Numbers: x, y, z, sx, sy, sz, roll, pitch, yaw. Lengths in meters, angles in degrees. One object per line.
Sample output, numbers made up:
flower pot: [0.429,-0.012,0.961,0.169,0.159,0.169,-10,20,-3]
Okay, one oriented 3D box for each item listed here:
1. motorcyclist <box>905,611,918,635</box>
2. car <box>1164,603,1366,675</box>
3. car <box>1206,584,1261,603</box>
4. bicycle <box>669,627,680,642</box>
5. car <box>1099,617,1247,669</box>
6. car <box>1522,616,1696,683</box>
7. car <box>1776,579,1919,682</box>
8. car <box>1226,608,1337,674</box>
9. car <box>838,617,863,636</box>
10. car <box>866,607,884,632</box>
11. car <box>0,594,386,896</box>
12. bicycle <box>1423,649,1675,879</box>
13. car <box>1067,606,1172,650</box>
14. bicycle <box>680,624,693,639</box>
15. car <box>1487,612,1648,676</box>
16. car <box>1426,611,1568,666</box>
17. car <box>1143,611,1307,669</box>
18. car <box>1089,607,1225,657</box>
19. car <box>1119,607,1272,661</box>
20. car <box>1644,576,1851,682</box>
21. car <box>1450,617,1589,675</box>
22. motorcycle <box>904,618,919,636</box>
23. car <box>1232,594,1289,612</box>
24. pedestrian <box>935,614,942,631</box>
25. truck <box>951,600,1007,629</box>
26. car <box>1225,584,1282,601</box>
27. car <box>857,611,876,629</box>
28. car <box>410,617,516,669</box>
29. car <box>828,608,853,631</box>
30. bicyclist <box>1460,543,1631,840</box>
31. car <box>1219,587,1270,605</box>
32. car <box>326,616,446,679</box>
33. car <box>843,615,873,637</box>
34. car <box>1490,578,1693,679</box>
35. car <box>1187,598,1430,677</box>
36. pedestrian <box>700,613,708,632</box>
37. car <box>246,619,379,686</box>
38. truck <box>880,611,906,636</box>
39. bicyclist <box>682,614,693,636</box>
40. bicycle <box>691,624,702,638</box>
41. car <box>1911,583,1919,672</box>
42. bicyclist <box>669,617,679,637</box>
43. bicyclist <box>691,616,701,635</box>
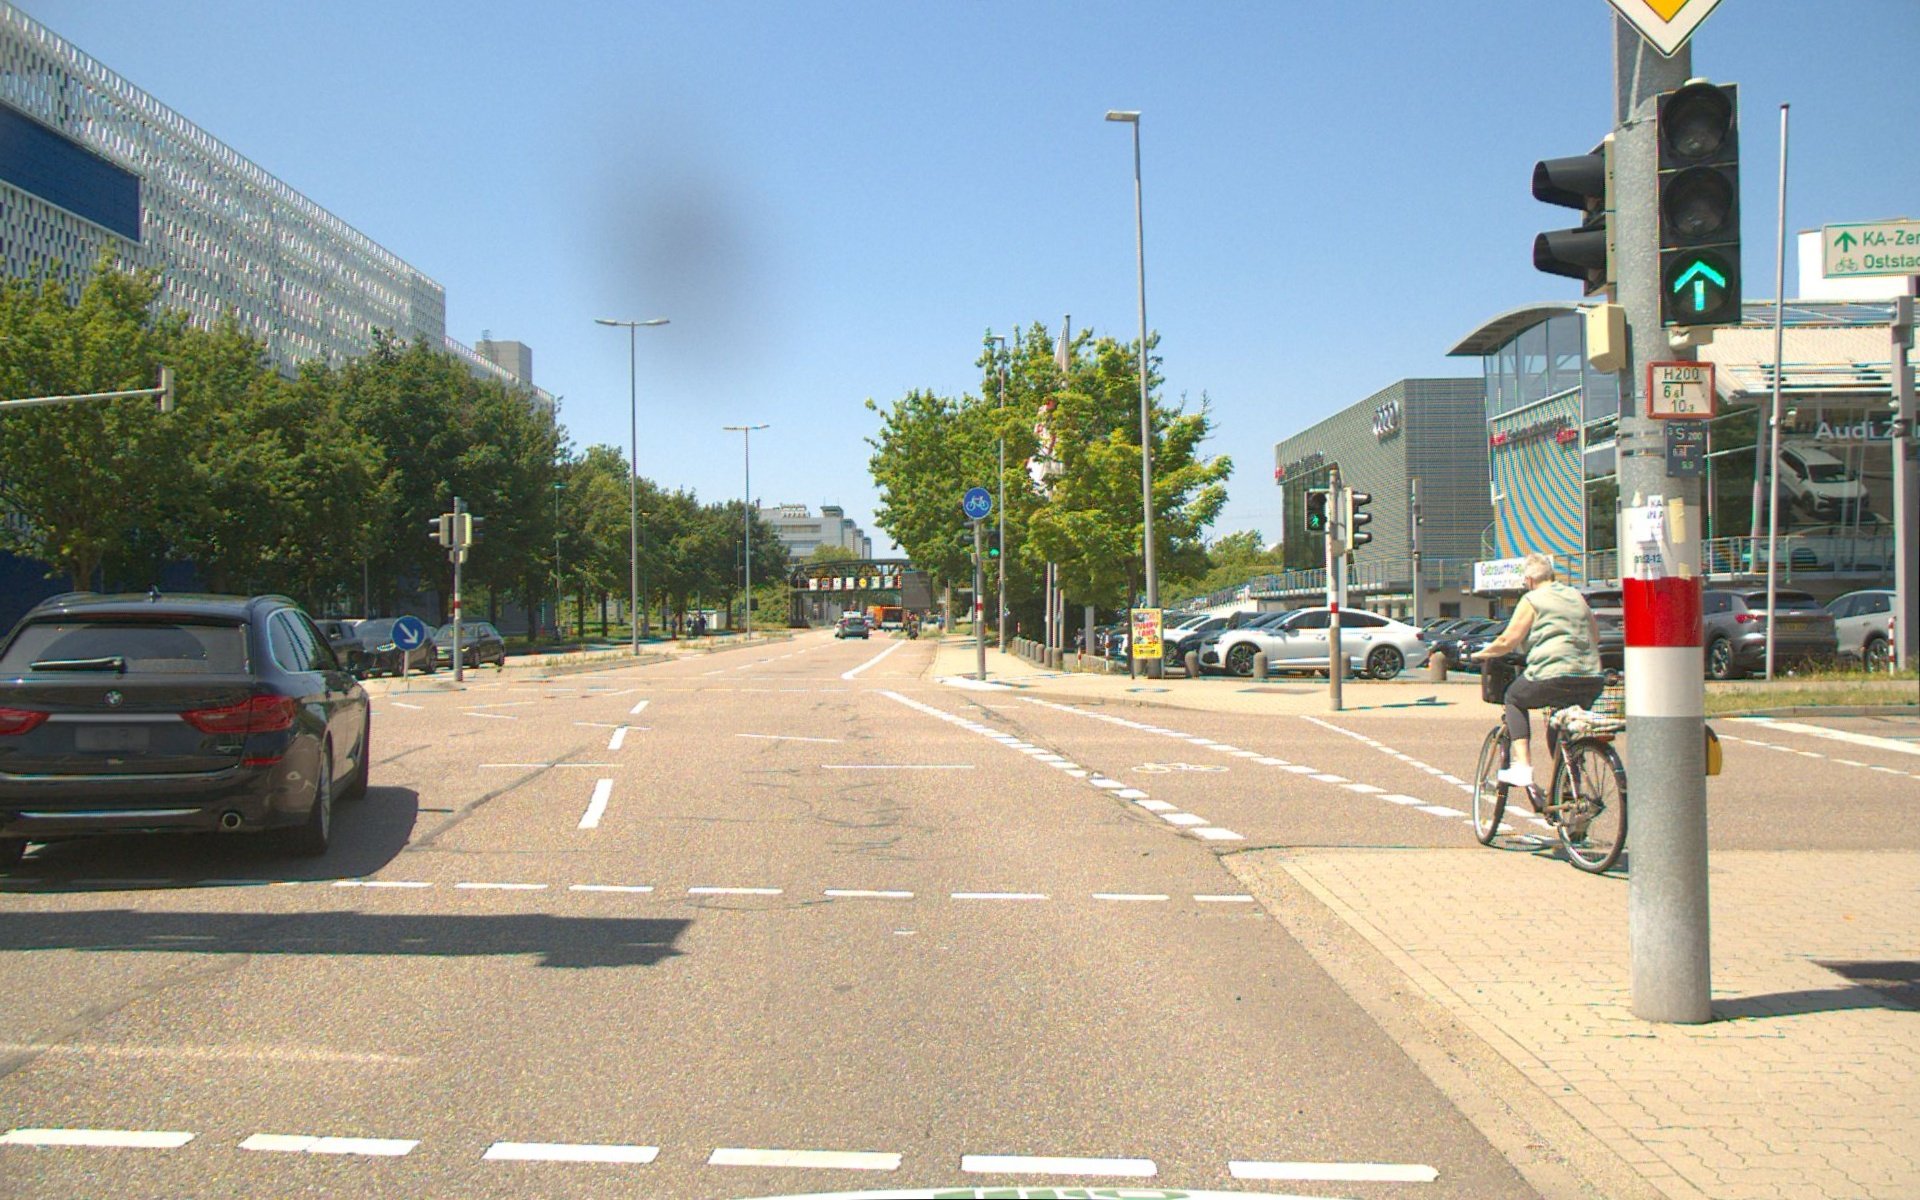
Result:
motorcyclist: [-3.100,1.482,105.796,0.706,1.556,0.868,1,-1,-11]
car: [6.564,0.839,35.900,4.013,1.415,1.868,2,-1,-1]
car: [21.434,-0.498,129.568,3.909,1.335,1.795,1,-1,-5]
bicycle: [-22.987,2.782,133.068,0.624,1.153,1.969,-1,-1,-3]
car: [6.297,1.276,49.264,4.140,1.415,1.868,2,-1,-1]
car: [17.230,1.298,44.025,3.904,1.626,1.850,2,-1,-1]
car: [16.402,0.546,29.164,1.808,1.683,3.994,2,-1,-5]
car: [7.646,0.947,39.730,1.824,1.444,4.663,2,-1,1]
car: [-8.648,2.084,130.891,1.885,1.445,3.998,0,-1,-2]
car: [-10.246,2.306,199.442,2.031,2.904,6.762,-1,-1,-2]
car: [-4.748,0.717,10.367,1.767,1.466,4.539,0,0,-14]
bicycle: [3.352,0.886,9.603,0.616,1.153,1.892,0,-1,-6]
car: [5.791,1.031,60.360,3.607,1.479,1.833,2,-1,-1]
bicycle: [-22.123,2.552,133.829,0.725,1.145,2.432,-1,-1,-4]
car: [17.038,1.227,46.515,3.904,1.650,1.656,2,-1,-1]
car: [16.880,1.194,52.071,3.901,1.601,1.633,2,-1,-1]
car: [6.962,1.043,43.726,4.013,1.388,1.874,2,-1,-1]
car: [6.185,0.995,52.165,4.017,1.429,1.868,2,-1,-1]
car: [6.581,0.942,46.545,4.016,1.372,1.868,2,-1,-1]
car: [13.664,0.493,28.962,1.806,1.683,3.999,2,-1,2]
car: [16.678,1.367,49.434,3.573,1.608,1.642,2,-1,-1]
motorcycle: [-3.089,1.706,105.748,0.703,1.124,1.825,1,-1,-10]
car: [21.379,0.218,117.695,3.652,1.150,1.682,1,-1,-5]
pedestrian: [-1.856,1.957,143.692,0.611,1.399,0.564,-1,-1,-3]
truck: [1.961,1.466,171.950,5.491,2.900,2.619,1,-1,-8]
car: [21.564,-0.542,121.527,3.862,1.232,1.715,0,-1,-5]
car: [-10.042,2.111,178.378,1.856,1.847,3.999,-1,0,-1]
car: [-15.459,1.325,51.670,1.691,1.471,4.720,-3,-1,2]
car: [-10.539,1.735,145.986,1.953,2.049,3.998,0,-1,-2]
bicyclist: [3.362,0.510,9.555,0.616,1.634,0.824,1,-1,-7]
car: [21.411,-0.282,124.653,3.455,1.261,1.675,1,-1,-5]
car: [-15.429,1.260,44.679,1.691,1.531,4.242,-3,-1,0]
car: [-6.776,1.743,110.103,1.862,1.400,4.230,-1,-1,-2]
car: [10.999,0.535,29.164,1.830,1.586,4.503,-2,-2,0]
car: [6.937,0.747,33.295,4.497,1.415,1.869,2,-1,1]
pedestrian: [-25.391,2.247,164.211,0.728,1.917,0.577,-1,-1,0]
car: [-15.109,1.200,38.772,1.610,1.413,3.715,-3,-1,0]
truck: [-6.763,2.359,168.119,2.408,2.453,7.132,1,0,-1]
bicyclist: [-22.024,2.022,133.775,0.730,1.715,0.951,-1,-1,-5]
bicycle: [-22.908,2.705,143.695,0.616,1.179,2.116,-3,-1,-2]
car: [18.719,0.533,29.070,1.604,1.644,3.814,0,1,-5]
bicyclist: [-23.011,2.174,133.035,0.624,1.610,0.884,-1,-1,-3]
bicyclist: [-22.927,2.224,143.651,0.621,1.657,1.044,-3,-1,-2]
